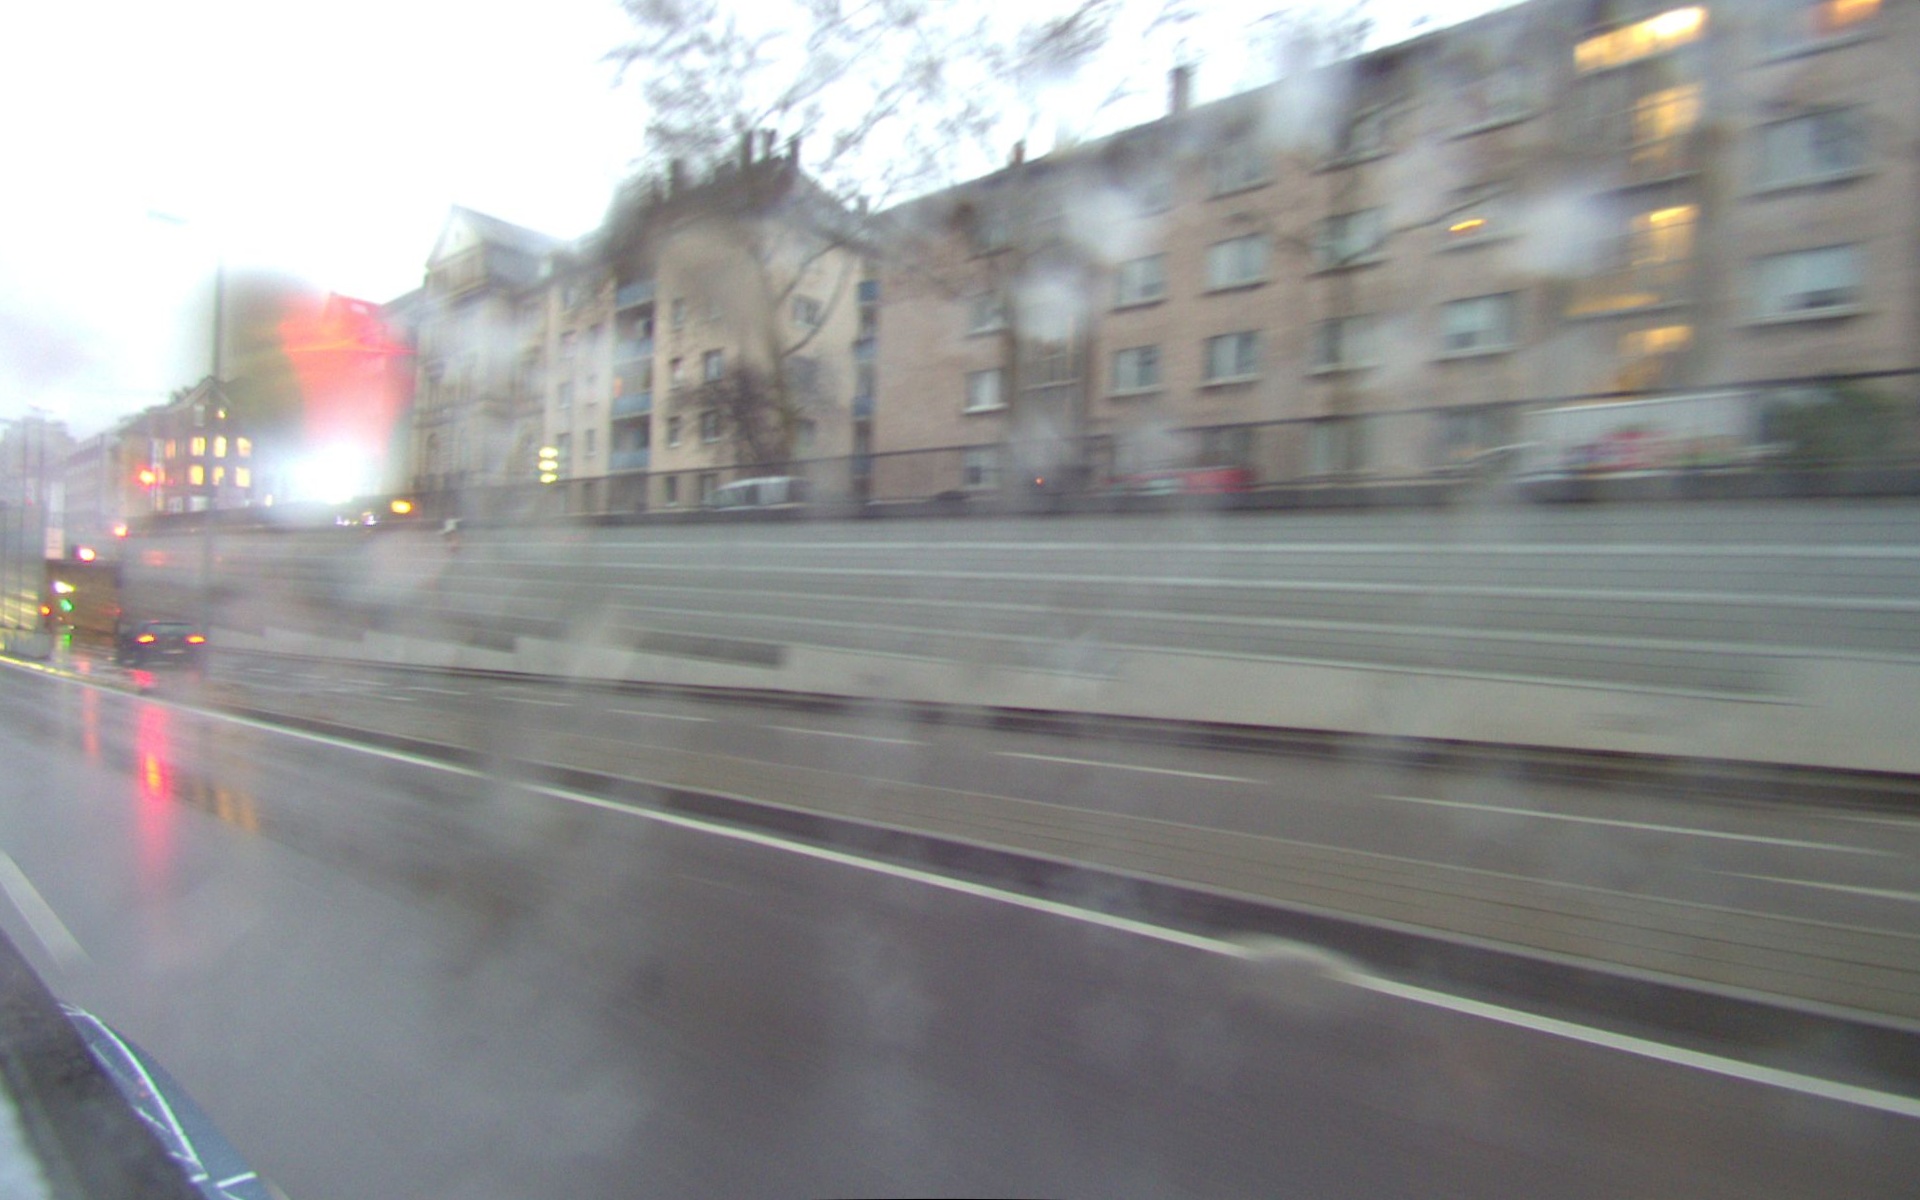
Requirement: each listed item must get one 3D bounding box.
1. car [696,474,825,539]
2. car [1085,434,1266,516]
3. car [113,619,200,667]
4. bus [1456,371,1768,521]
[{"bbox_3d":[-5.305,-2.421,26.710,3.404,1.408,1.549,2,-2,41],"label":"car"},{"bbox_3d":[5.011,-2.873,23.855,3.877,1.484,1.549,2,-2,41],"label":"car"},{"bbox_3d":[-26.279,1.372,33.062,3.684,1.482,1.555,-1,-2,41],"label":"car"},{"bbox_3d":[10.656,-2.393,16.712,4.065,1.884,1.676,2,-2,43],"label":"bus"}]
